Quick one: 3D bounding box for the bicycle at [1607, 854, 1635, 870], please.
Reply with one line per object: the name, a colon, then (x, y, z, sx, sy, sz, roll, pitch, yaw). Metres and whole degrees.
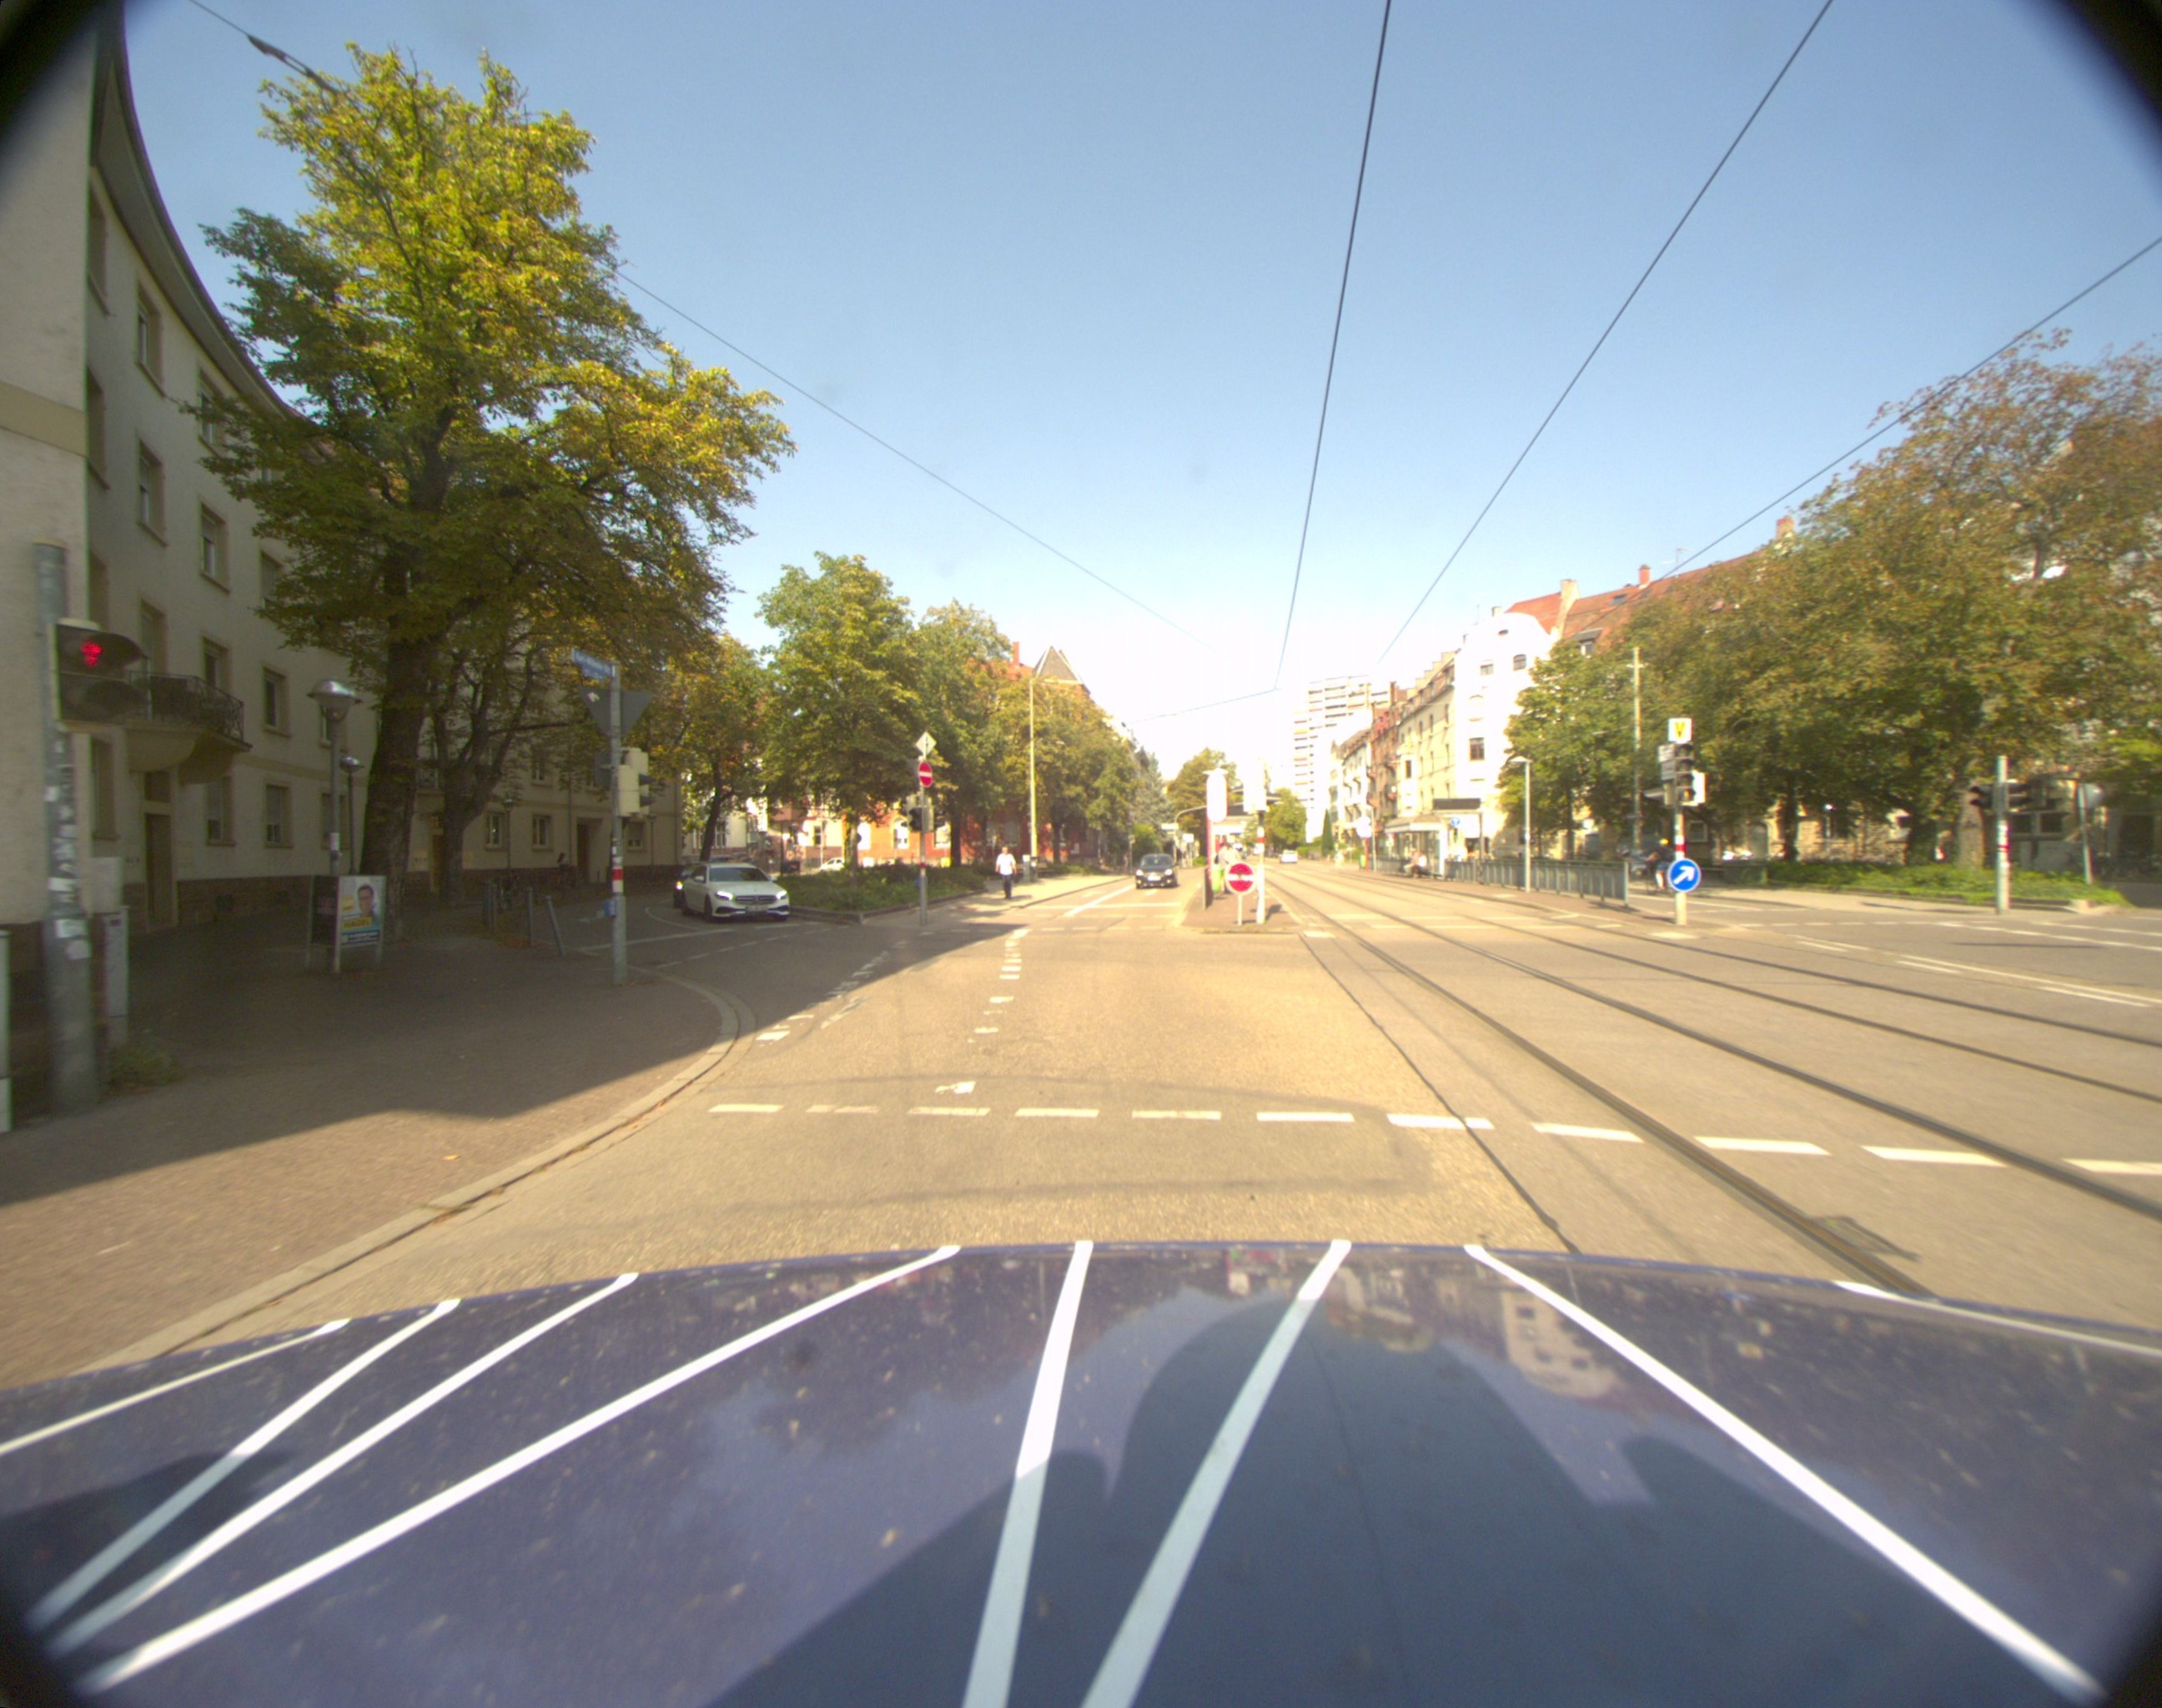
bicycle: (36.758, 0.523, 51.733, 2.345, 1.073, 0.695, -1, 1, -32)

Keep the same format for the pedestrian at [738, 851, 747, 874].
pedestrian: (-25.586, 0.651, 57.412, 0.592, 1.754, 0.605, -1, 1, -30)

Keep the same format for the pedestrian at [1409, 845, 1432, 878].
pedestrian: (15.438, 0.332, 34.575, 0.793, 1.448, 0.719, 0, 1, 11)

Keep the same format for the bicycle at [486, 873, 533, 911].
bicycle: (-16.865, 1.114, 22.456, 0.609, 1.052, 1.837, -1, -1, -21)

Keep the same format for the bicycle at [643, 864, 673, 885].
bicycle: (-21.702, 1.044, 39.003, 0.416, 1.054, 1.489, 0, 1, 14)

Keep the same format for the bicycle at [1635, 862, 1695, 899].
bicycle: (18.348, 0.809, 23.918, 0.685, 1.097, 2.071, -1, 0, 13)

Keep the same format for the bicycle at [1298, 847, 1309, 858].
bicycle: (38.302, -0.340, 130.663, 1.014, 1.847, 3.557, -2, 0, 5)

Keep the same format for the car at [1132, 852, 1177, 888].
car: (3.312, 0.650, 33.777, 1.774, 1.459, 4.002, -2, 0, 8)

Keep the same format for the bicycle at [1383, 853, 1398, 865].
bicycle: (29.291, 0.460, 71.936, 0.545, 1.097, 1.896, -1, 0, -3)

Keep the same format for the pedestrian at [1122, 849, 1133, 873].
pedestrian: (3.468, 0.519, 56.424, 0.542, 1.708, 0.662, 0, 1, 26)

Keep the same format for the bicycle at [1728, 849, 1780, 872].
bicycle: (39.794, 0.389, 44.931, 2.301, 1.363, 0.867, -1, 1, 0)

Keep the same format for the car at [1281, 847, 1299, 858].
car: (26.254, -0.188, 95.476, 1.731, 1.426, 3.924, -1, 0, 9)

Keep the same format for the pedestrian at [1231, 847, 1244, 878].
pedestrian: (7.848, 0.427, 38.051, 0.590, 1.536, 0.607, 0, 1, 13)

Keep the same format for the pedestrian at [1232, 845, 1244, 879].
pedestrian: (8.005, 0.395, 38.679, 0.590, 1.711, 0.607, 0, 1, 13)

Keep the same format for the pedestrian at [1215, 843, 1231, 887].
pedestrian: (5.836, 0.436, 31.265, 0.605, 1.796, 0.730, -1, 1, 9)

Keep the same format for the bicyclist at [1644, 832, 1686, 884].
bicyclist: (18.329, 0.121, 23.855, 0.674, 1.605, 1.045, -1, 1, 13)

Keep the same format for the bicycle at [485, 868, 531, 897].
bicycle: (-21.407, 1.059, 28.411, 0.534, 1.001, 1.907, -1, 0, -10)

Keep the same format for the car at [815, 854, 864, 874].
car: (-20.060, 0.840, 63.086, 3.989, 1.558, 1.625, -1, 0, 32)

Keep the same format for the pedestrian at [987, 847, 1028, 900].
pedestrian: (-2.464, 0.643, 25.573, 1.078, 1.715, 0.970, 3, 1, 10)

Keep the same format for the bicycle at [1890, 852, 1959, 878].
bicycle: (36.127, 0.458, 32.587, 0.655, 1.097, 2.072, -1, 0, -1)

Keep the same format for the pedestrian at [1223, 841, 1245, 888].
pedestrian: (5.799, 0.389, 28.777, 0.769, 1.750, 0.681, -1, 1, 9)

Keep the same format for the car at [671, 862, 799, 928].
car: (-9.246, 0.993, 20.068, 1.880, 1.460, 4.940, 2, -1, -39)

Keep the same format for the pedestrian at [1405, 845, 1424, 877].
pedestrian: (15.617, 0.320, 35.642, 0.678, 1.448, 0.719, 0, 1, 11)

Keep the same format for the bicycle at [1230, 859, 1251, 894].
bicycle: (5.339, 0.745, 25.354, 0.473, 1.097, 1.739, 0, 1, 19)

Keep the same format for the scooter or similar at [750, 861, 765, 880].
scooter or similar: (-19.355, 0.980, 45.419, 0.443, 1.151, 1.110, -2, 1, -44)

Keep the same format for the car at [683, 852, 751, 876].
car: (-26.301, 0.706, 54.986, 1.658, 1.629, 4.203, 0, 0, 31)

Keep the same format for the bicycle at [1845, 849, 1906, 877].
bicycle: (40.983, 0.461, 39.217, 2.302, 1.363, 0.867, -1, 1, -1)

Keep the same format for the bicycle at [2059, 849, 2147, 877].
bicycle: (40.768, 0.348, 30.339, 2.088, 1.097, 0.657, -1, 1, 19)

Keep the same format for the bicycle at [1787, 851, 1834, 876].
bicycle: (40.353, 0.509, 42.031, 2.305, 1.363, 0.866, -1, 1, -18)

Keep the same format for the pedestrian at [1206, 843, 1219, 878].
pedestrian: (7.060, 0.350, 40.874, 0.637, 1.837, 0.634, 0, 1, 13)

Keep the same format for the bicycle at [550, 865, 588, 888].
bicycle: (-23.577, 1.029, 35.027, 0.534, 1.001, 1.909, -1, 0, -2)

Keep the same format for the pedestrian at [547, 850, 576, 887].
pedestrian: (-23.808, 0.670, 34.840, 0.687, 1.662, 0.866, -1, 1, -1)

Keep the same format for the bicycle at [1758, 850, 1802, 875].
bicycle: (40.148, 0.473, 43.632, 2.305, 1.363, 0.866, -1, 1, -18)

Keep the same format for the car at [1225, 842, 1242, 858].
car: (22.525, -0.617, 112.086, 2.085, 2.264, 4.833, -1, 0, 16)

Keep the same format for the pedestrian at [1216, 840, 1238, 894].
pedestrian: (4.871, 0.436, 25.387, 0.691, 1.756, 0.797, -1, 1, 9)

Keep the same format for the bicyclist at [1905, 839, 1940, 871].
bicyclist: (36.122, 0.047, 32.604, 0.655, 1.352, 0.758, -1, 1, -1)

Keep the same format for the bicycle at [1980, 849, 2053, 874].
bicycle: (41.999, 0.315, 34.157, 0.655, 1.097, 2.335, -1, 0, 8)

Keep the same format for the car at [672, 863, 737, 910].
car: (-12.422, 1.017, 25.280, 1.754, 1.443, 3.882, 1, -1, -24)

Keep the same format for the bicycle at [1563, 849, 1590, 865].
bicycle: (35.184, 0.206, 53.974, 2.345, 1.073, 0.695, -2, 1, -32)

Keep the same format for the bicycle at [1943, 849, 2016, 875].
bicycle: (40.521, 0.353, 34.328, 0.773, 1.097, 2.335, -1, 0, 8)

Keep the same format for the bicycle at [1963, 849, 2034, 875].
bicycle: (41.277, 0.336, 34.230, 0.655, 1.097, 2.335, -1, 0, 8)

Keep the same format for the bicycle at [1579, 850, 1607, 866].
bicycle: (35.603, 0.269, 52.831, 2.345, 1.073, 0.695, -2, 1, -32)

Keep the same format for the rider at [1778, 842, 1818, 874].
rider: (35.049, 0.184, 37.145, 0.996, 1.503, 1.115, -2, 1, 15)

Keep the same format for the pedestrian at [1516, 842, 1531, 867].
pedestrian: (34.068, 0.042, 58.511, 0.734, 1.857, 0.673, -1, 1, 7)

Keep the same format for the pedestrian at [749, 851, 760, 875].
pedestrian: (-24.537, 0.656, 57.106, 0.656, 1.754, 0.606, -1, 1, -28)

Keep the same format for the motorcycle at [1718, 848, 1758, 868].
motorcycle: (39.639, 0.250, 45.848, 1.883, 1.170, 0.677, -2, 1, -4)

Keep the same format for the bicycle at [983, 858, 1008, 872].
bicycle: (-6.767, 0.879, 60.252, 1.843, 1.052, 0.607, -2, -1, -38)

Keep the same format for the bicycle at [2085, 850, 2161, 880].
bicycle: (40.394, 0.429, 29.247, 2.088, 1.097, 0.657, -1, 1, 19)

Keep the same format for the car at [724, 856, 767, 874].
car: (-30.890, 1.033, 69.918, 3.989, 1.558, 1.625, -1, 0, 32)
